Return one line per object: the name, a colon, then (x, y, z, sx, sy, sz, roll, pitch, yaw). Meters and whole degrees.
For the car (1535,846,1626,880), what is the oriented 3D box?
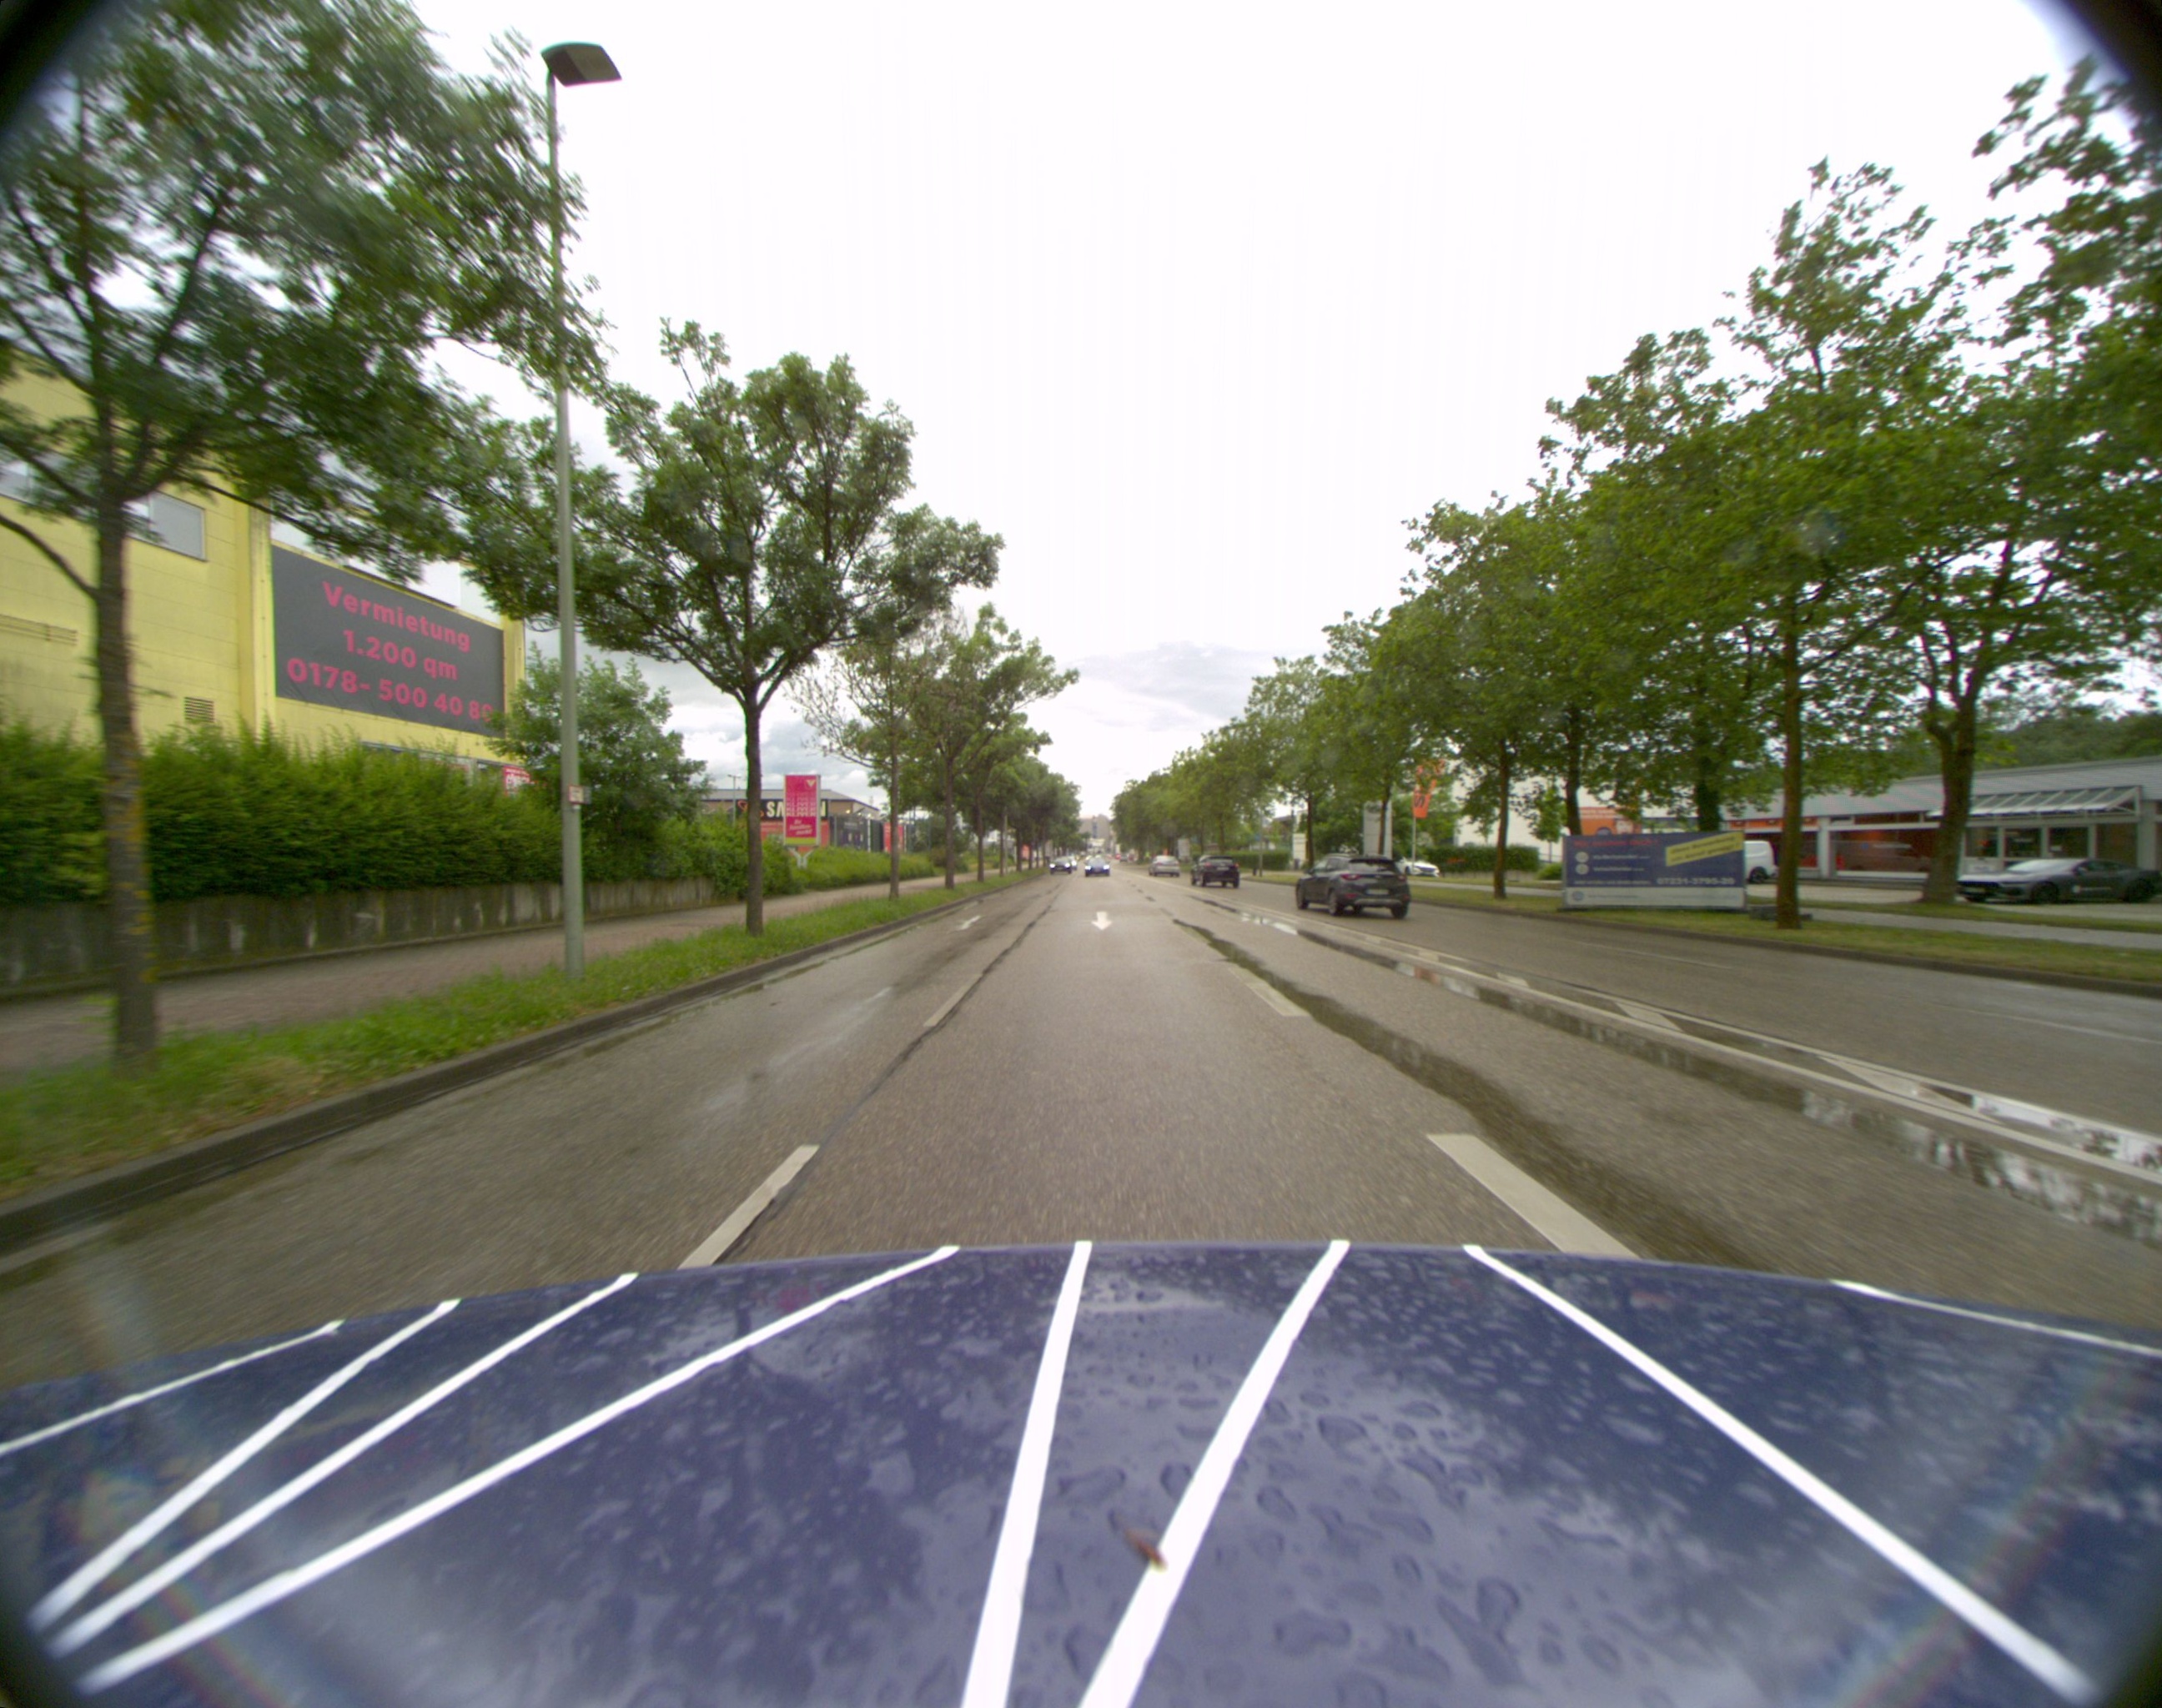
car: (29.162, 0.506, 44.471, 3.996, 1.878, 1.963, 0, 0, 2)

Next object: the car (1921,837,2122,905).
car: (29.108, 0.505, 23.611, 3.997, 2.002, 1.882, 0, 0, -2)

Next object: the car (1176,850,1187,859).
car: (20.064, 0.084, 151.253, 1.746, 1.525, 4.000, 2, 1, 2)

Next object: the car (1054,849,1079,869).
car: (-1.292, 0.430, 69.831, 1.998, 1.632, 4.360, -2, 1, 1)

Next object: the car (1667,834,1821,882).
car: (29.315, 0.164, 33.711, 5.058, 2.002, 2.129, 0, 0, -1)

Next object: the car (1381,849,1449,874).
car: (21.738, 0.457, 49.770, 2.123, 1.487, 5.246, 0, 0, 0)

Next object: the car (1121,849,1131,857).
car: (10.484, -0.239, 175.634, 1.916, 1.795, 5.340, 1, 0, -1)

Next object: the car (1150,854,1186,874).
car: (6.281, 0.687, 55.168, 1.999, 1.421, 4.684, 0, 0, -1)

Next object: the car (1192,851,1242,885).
car: (6.471, 0.640, 36.531, 1.767, 1.522, 3.858, 1, 0, 1)

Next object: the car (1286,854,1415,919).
car: (6.683, 0.745, 19.344, 1.671, 1.453, 4.179, 0, 0, -2)

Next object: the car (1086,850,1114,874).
car: (1.447, 0.546, 57.607, 1.998, 1.632, 4.360, -2, 1, 1)
